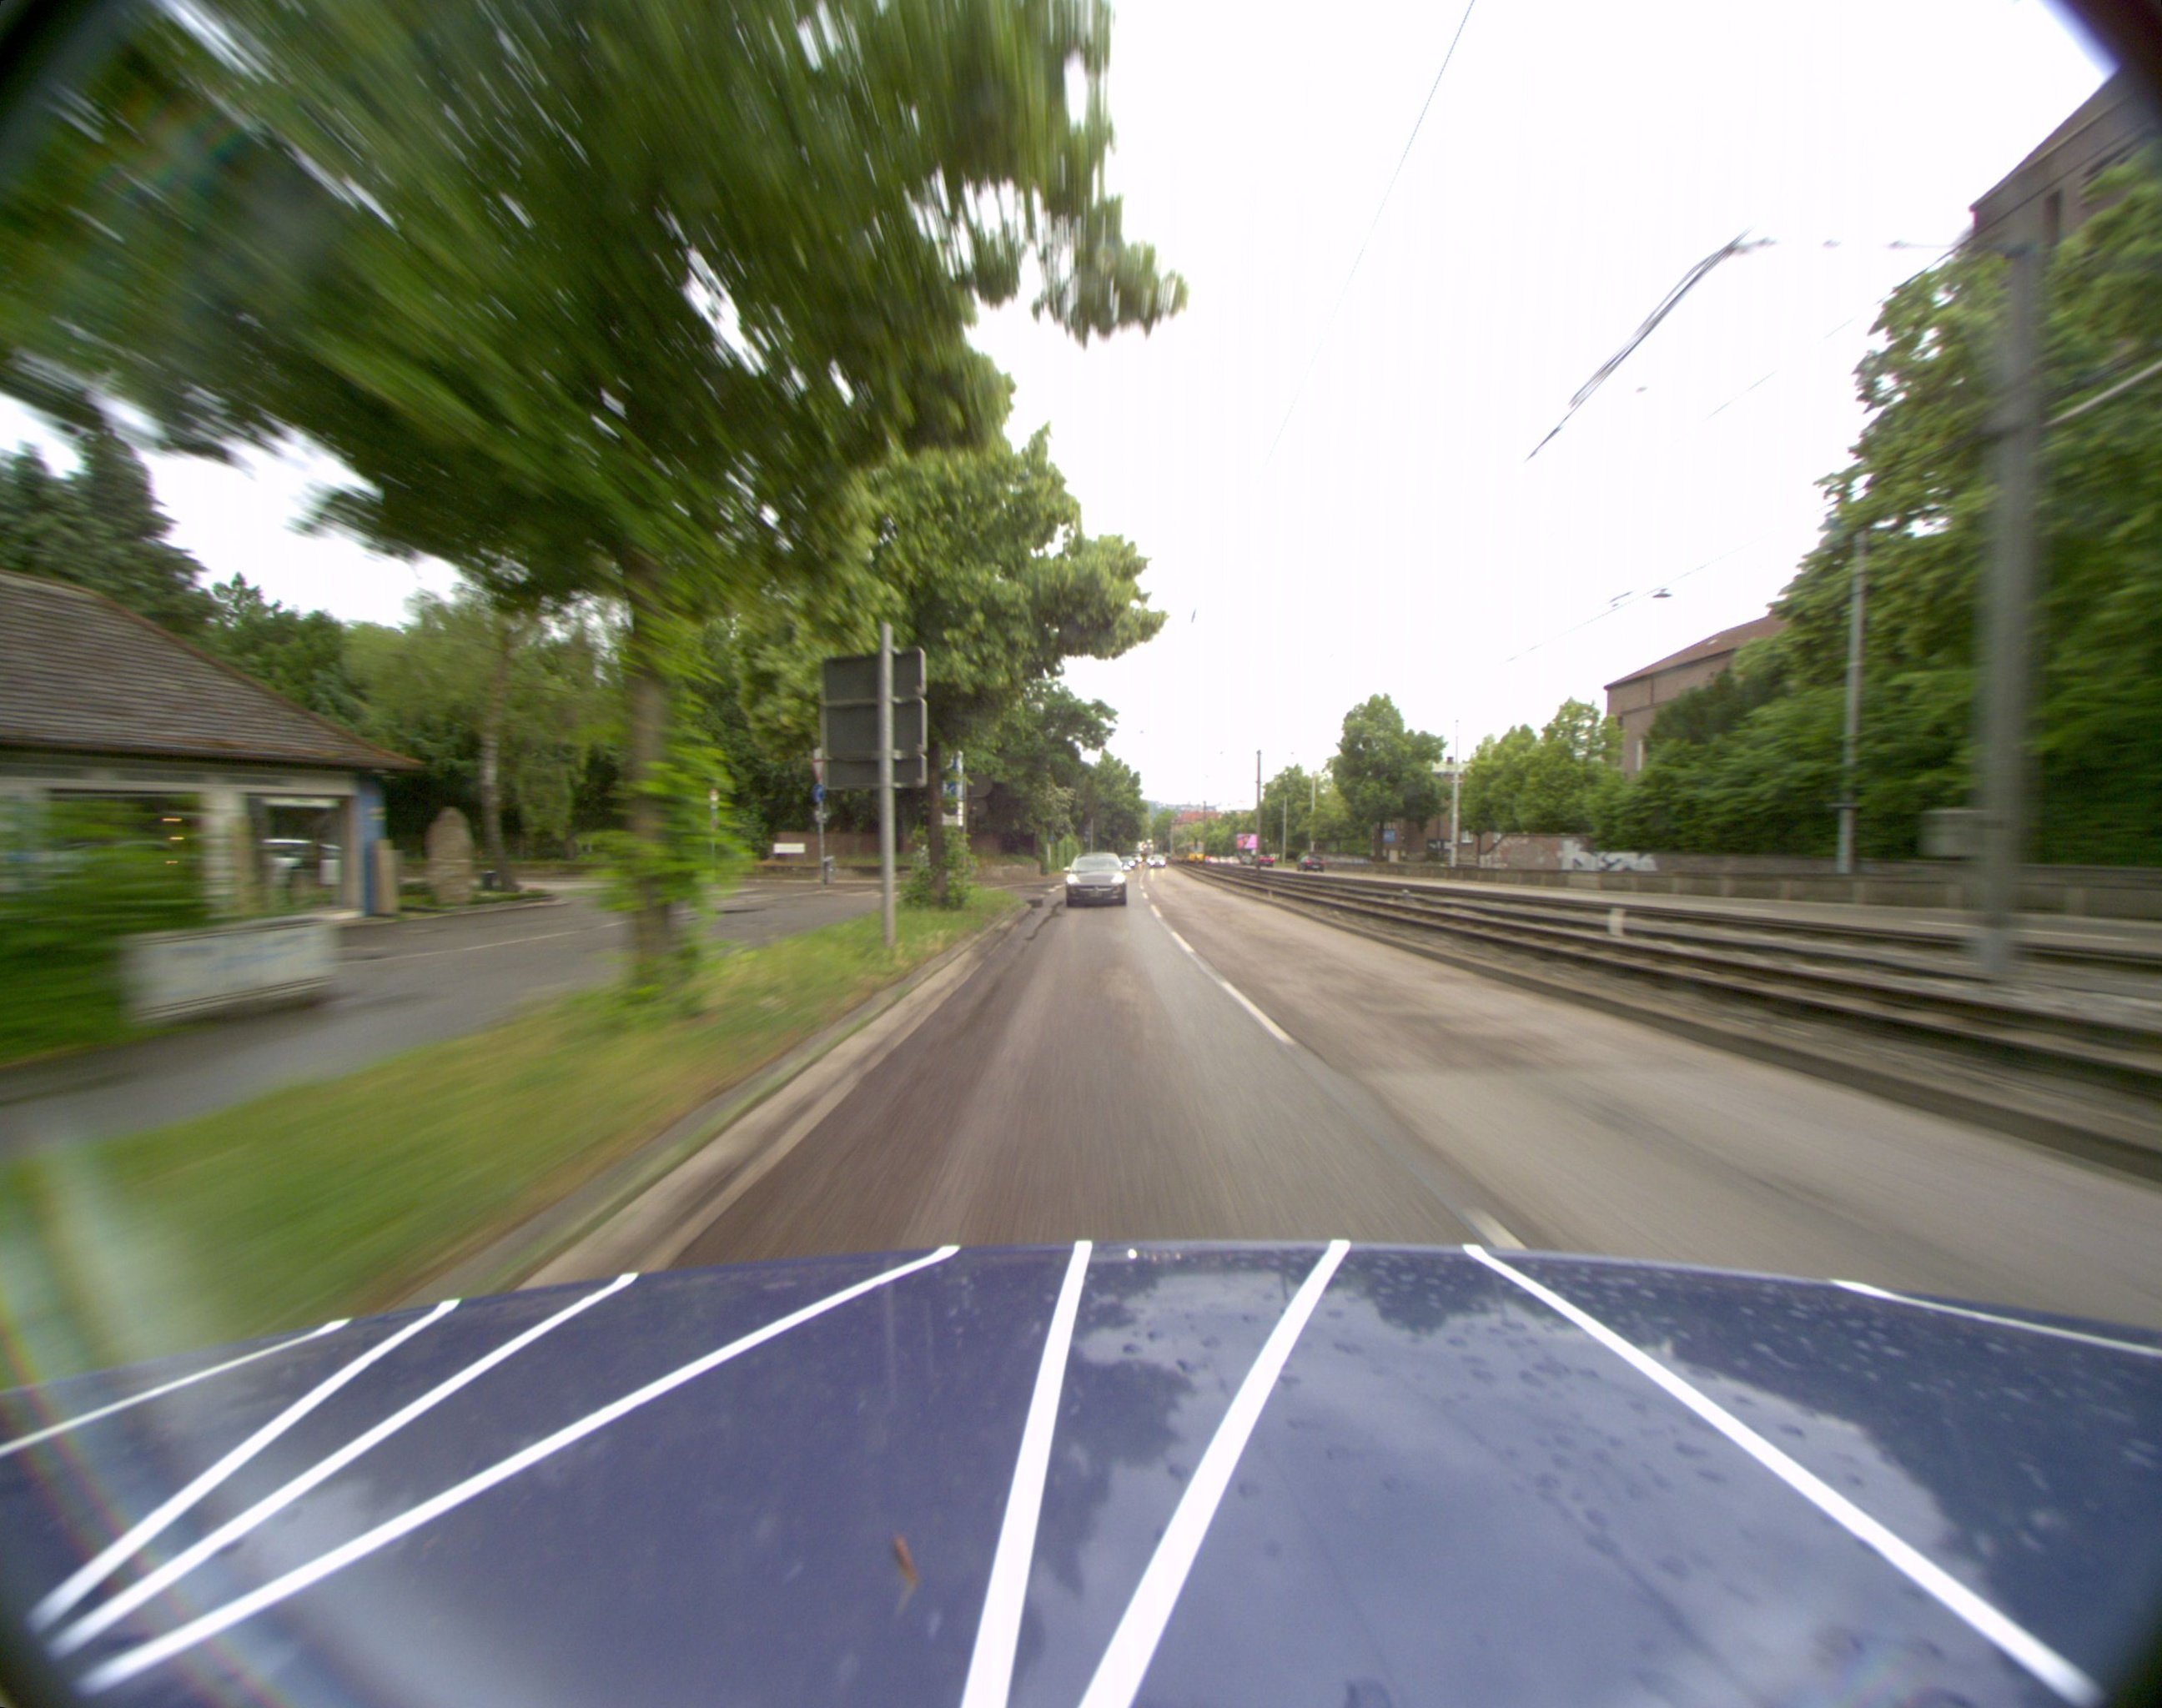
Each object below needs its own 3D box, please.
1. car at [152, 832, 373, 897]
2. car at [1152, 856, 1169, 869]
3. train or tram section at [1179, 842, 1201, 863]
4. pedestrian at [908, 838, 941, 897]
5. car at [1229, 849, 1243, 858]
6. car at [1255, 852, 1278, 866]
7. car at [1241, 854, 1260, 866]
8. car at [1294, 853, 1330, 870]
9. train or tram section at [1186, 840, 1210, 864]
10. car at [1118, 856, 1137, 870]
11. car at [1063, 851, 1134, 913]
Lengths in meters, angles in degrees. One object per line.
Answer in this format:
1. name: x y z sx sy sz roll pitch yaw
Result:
1. car: -22.128 0.272 20.694 1.828 1.569 3.770 2 0 30
2. car: 8.964 0.942 85.728 1.768 1.502 4.343 0 0 8
3. train or tram section: 21.765 -0.256 153.026 2.834 3.952 20.034 0 0 4
4. pedestrian: -4.928 0.419 23.965 0.856 1.843 0.737 1 1 5
5. car: 26.770 -0.056 130.992 1.751 1.459 3.986 3 0 3
6. car: 23.644 0.614 97.053 1.998 1.634 4.525 2 0 3
7. car: 25.297 0.863 113.695 1.998 1.634 4.413 2 0 3
8. car: 21.033 0.702 69.335 1.970 1.433 4.322 1 0 2
9. train or tram section: 20.611 -0.276 134.456 2.834 3.952 17.883 0 0 5
10. car: 4.884 0.937 80.178 1.769 1.502 4.341 0 0 1
11. car: 0.485 0.721 21.507 1.746 1.544 4.494 -2 0 1
